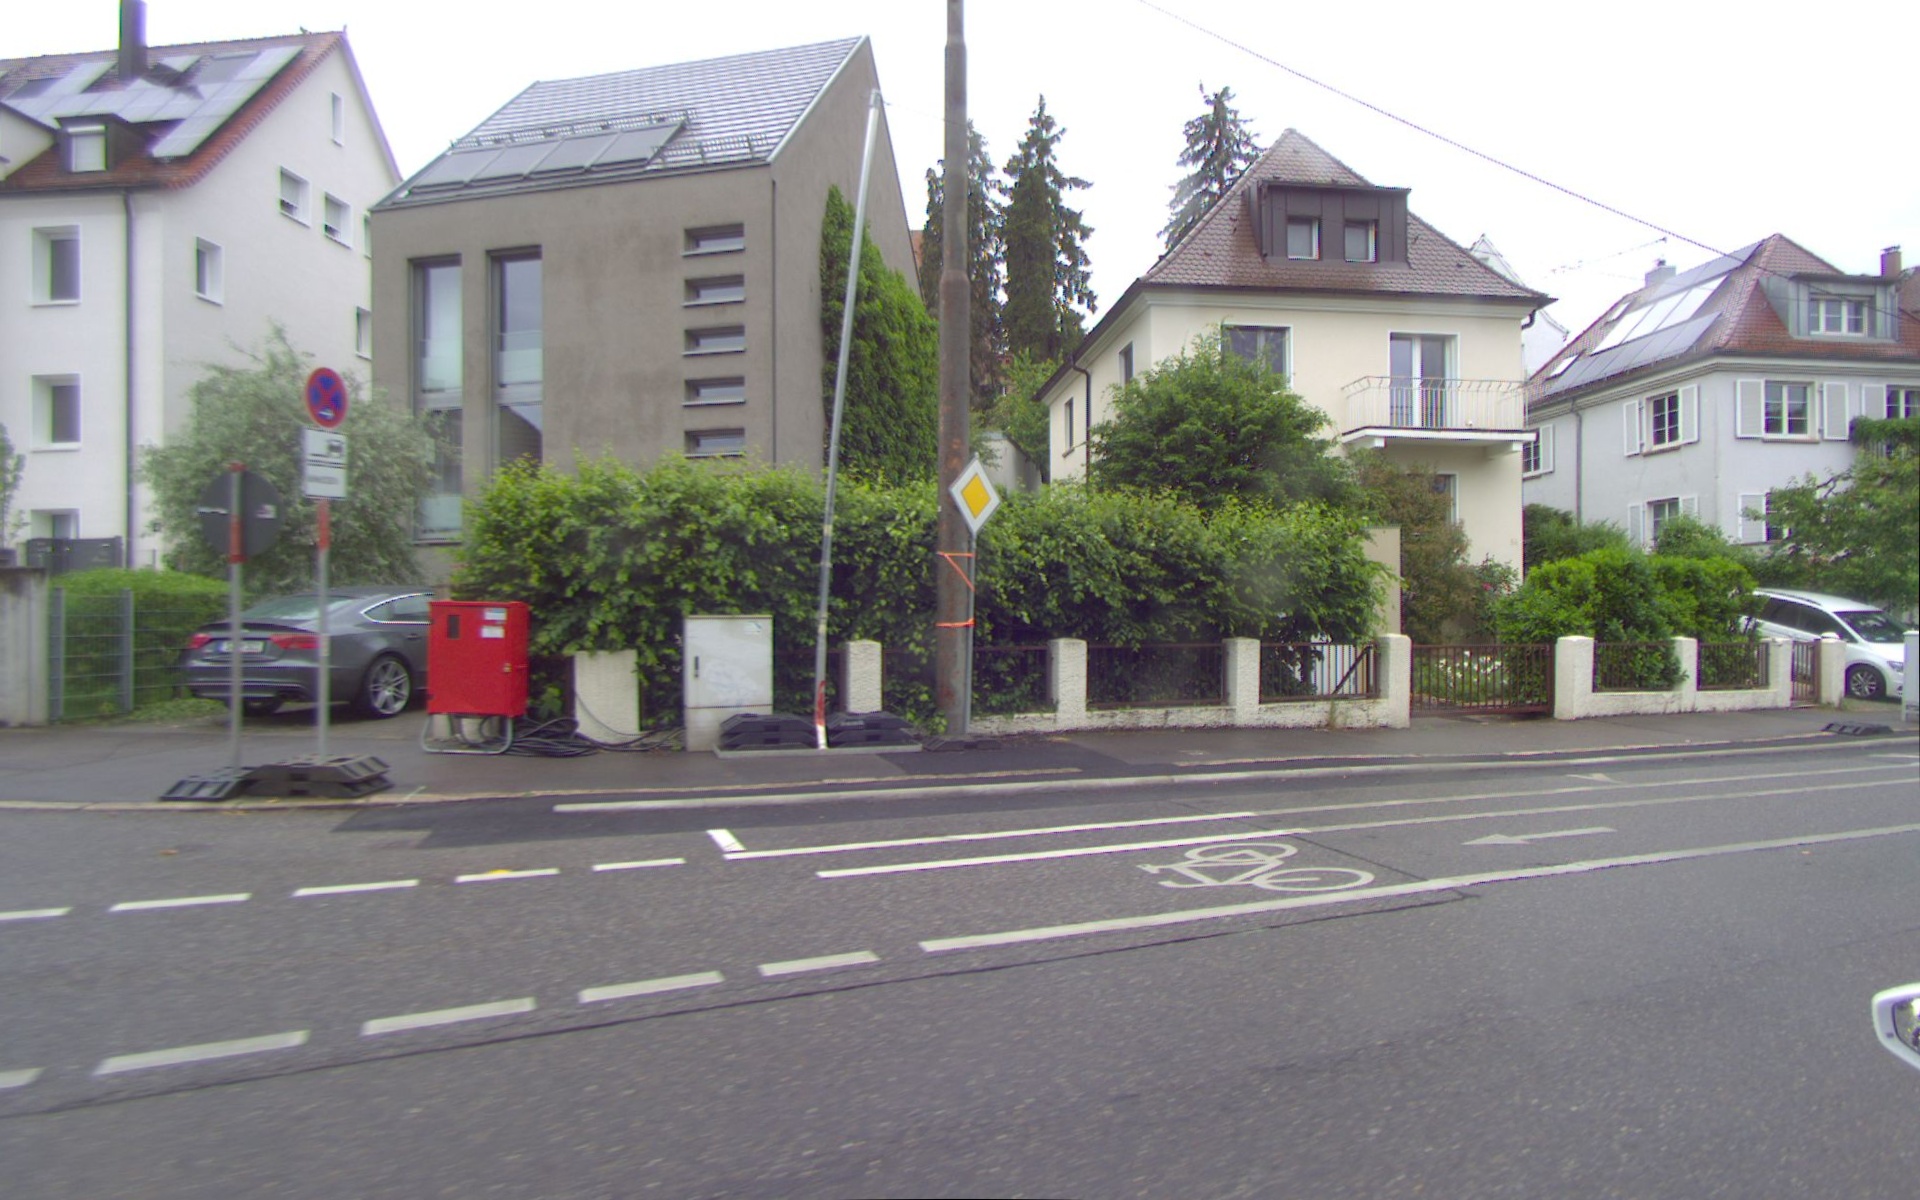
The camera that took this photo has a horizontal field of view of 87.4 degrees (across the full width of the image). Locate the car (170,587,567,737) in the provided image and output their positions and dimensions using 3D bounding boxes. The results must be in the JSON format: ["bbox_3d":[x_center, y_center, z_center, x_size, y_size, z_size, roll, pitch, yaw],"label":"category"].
[{"bbox_3d":[-6.537,0.562,11.765,1.581,1.387,4.265,0,1,11],"label":"car"}]

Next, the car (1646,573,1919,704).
[{"bbox_3d":[16.973,0.636,20.449,1.831,1.640,4.965,0,10,-11],"label":"car"}]

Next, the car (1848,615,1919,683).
[{"bbox_3d":[23.342,1.186,23.104,1.907,1.546,3.990,2,0,-13],"label":"car"}]
